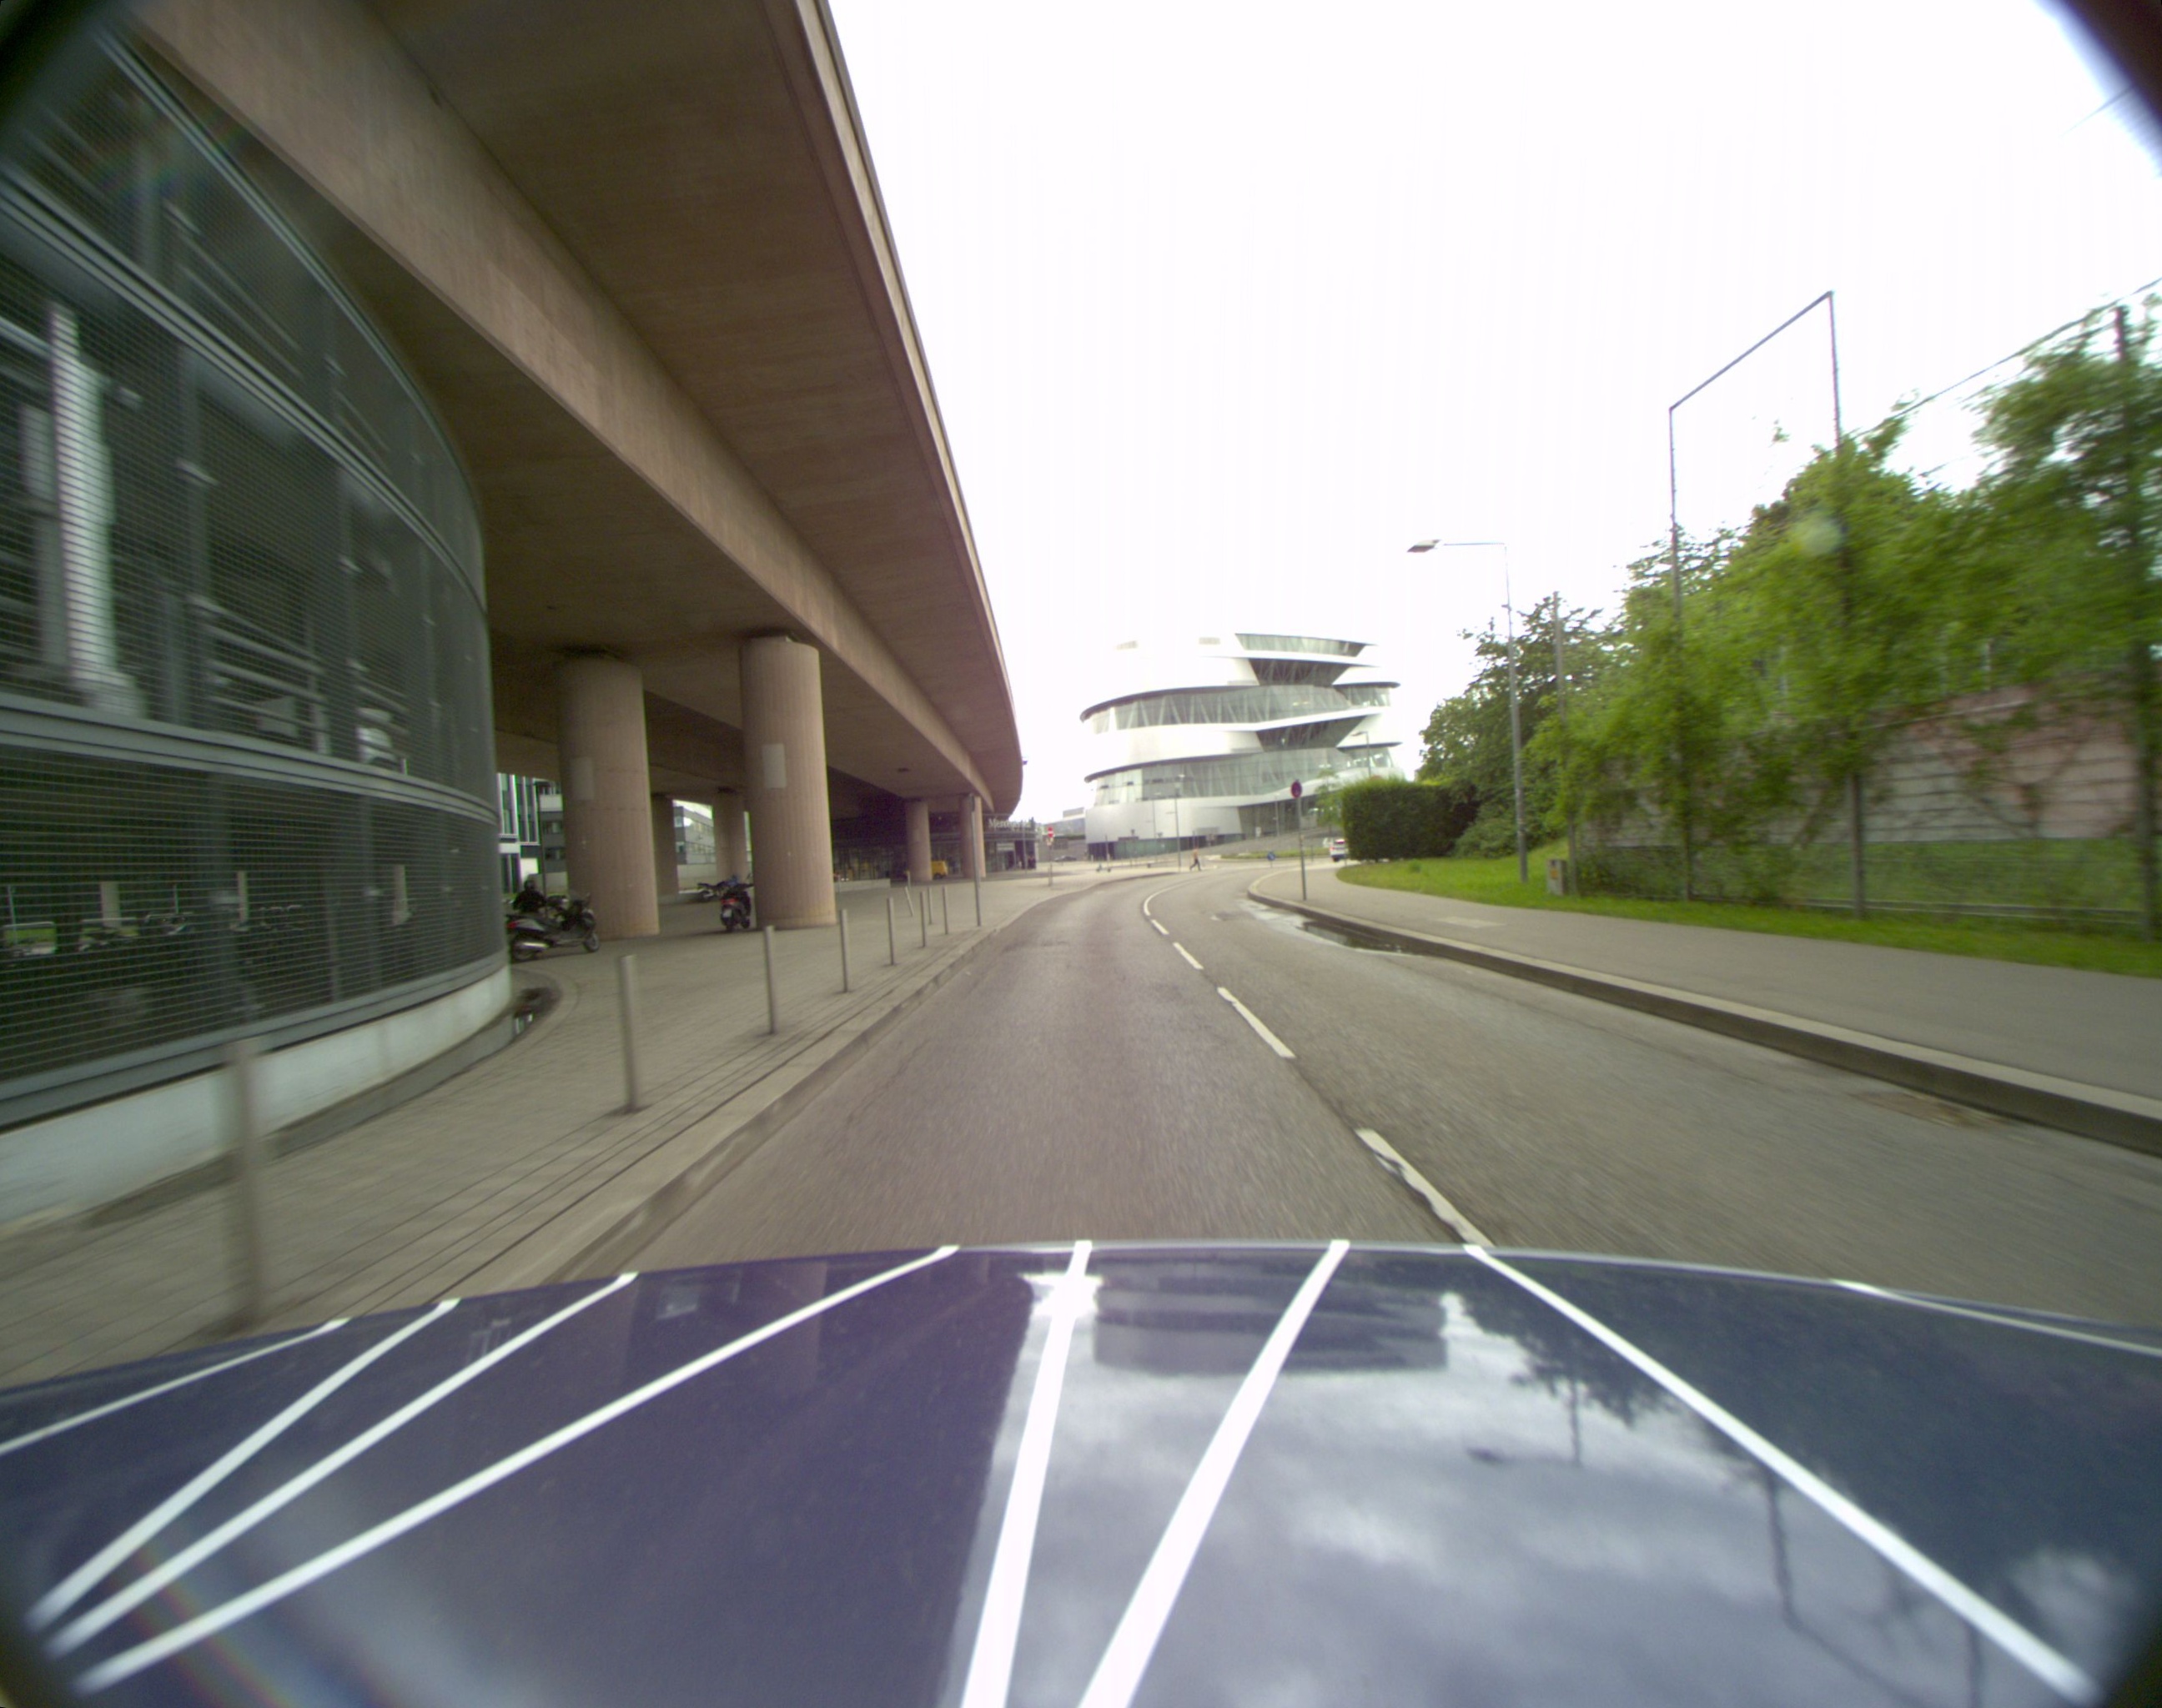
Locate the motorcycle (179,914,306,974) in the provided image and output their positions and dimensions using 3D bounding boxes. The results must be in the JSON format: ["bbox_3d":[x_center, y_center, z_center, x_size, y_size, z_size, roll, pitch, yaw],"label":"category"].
[{"bbox_3d":[-20.155,2.120,18.334,0.673,1.212,2.079,-3,-1,2],"label":"motorcycle"}]

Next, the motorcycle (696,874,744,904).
[{"bbox_3d":[-16.838,1.632,35.475,1.943,1.257,0.547,-3,-1,-21],"label":"motorcycle"}]

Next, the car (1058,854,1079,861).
[{"bbox_3d":[-3.117,0.924,183.855,4.907,1.390,1.534,-3,-1,-9],"label":"car"}]

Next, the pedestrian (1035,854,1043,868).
[{"bbox_3d":[-5.402,0.918,98.083,0.773,1.695,0.786,-3,-1,-20],"label":"pedestrian"}]

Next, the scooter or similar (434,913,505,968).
[{"bbox_3d":[-13.970,1.963,17.390,0.399,1.127,1.252,-3,-1,12],"label":"scooter or similar"}]

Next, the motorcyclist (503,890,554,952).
[{"bbox_3d":[-13.297,1.597,18.313,0.765,1.411,0.868,-3,-1,-24],"label":"motorcyclist"}]

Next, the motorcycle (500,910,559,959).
[{"bbox_3d":[-13.320,1.917,18.409,0.749,1.016,1.953,-3,-1,-24],"label":"motorcycle"}]

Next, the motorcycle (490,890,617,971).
[{"bbox_3d":[-10.695,1.509,15.514,0.630,1.411,2.172,-3,0,14],"label":"motorcycle"}]

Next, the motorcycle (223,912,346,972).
[{"bbox_3d":[-19.083,2.082,18.277,0.673,1.212,2.079,-3,-1,2],"label":"motorcycle"}]

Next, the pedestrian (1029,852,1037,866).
[{"bbox_3d":[-6.195,0.641,98.658,0.783,1.787,0.864,-3,-1,-18],"label":"pedestrian"}]

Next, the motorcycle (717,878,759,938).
[{"bbox_3d":[-8.826,1.368,19.601,0.644,1.446,1.761,-3,-1,-15],"label":"motorcycle"}]

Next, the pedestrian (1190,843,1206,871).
[{"bbox_3d":[8.584,0.250,55.749,1.038,2.001,0.785,-3,-1,4],"label":"pedestrian"}]

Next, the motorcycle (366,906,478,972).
[{"bbox_3d":[-15.443,1.957,17.902,0.607,1.295,2.130,-3,0,4],"label":"motorcycle"}]

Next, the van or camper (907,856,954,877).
[{"bbox_3d":[-16.317,1.360,82.455,4.501,1.987,2.362,-4,0,1],"label":"van or camper"}]

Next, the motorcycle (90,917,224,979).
[{"bbox_3d":[-22.627,2.261,18.684,0.673,1.278,2.079,-3,-1,2],"label":"motorcycle"}]

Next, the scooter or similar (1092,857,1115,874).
[{"bbox_3d":[1.793,0.910,60.078,1.647,1.288,0.519,-4,-1,8],"label":"scooter or similar"}]

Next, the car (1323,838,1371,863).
[{"bbox_3d":[19.040,-0.257,54.353,1.865,1.673,4.414,-4,-1,37],"label":"car"}]

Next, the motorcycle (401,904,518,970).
[{"bbox_3d":[-14.612,1.918,17.960,0.607,1.303,2.126,-3,0,14],"label":"motorcycle"}]

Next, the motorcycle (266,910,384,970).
[{"bbox_3d":[-18.002,2.011,18.174,0.673,1.212,2.079,-3,-1,2],"label":"motorcycle"}]

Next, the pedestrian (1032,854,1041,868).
[{"bbox_3d":[-5.674,0.888,97.159,0.773,1.695,0.864,-3,-1,-20],"label":"pedestrian"}]

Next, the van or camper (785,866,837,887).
[{"bbox_3d":[-28.252,2.345,79.404,4.907,1.881,2.150,-3,-1,-25],"label":"van or camper"}]
